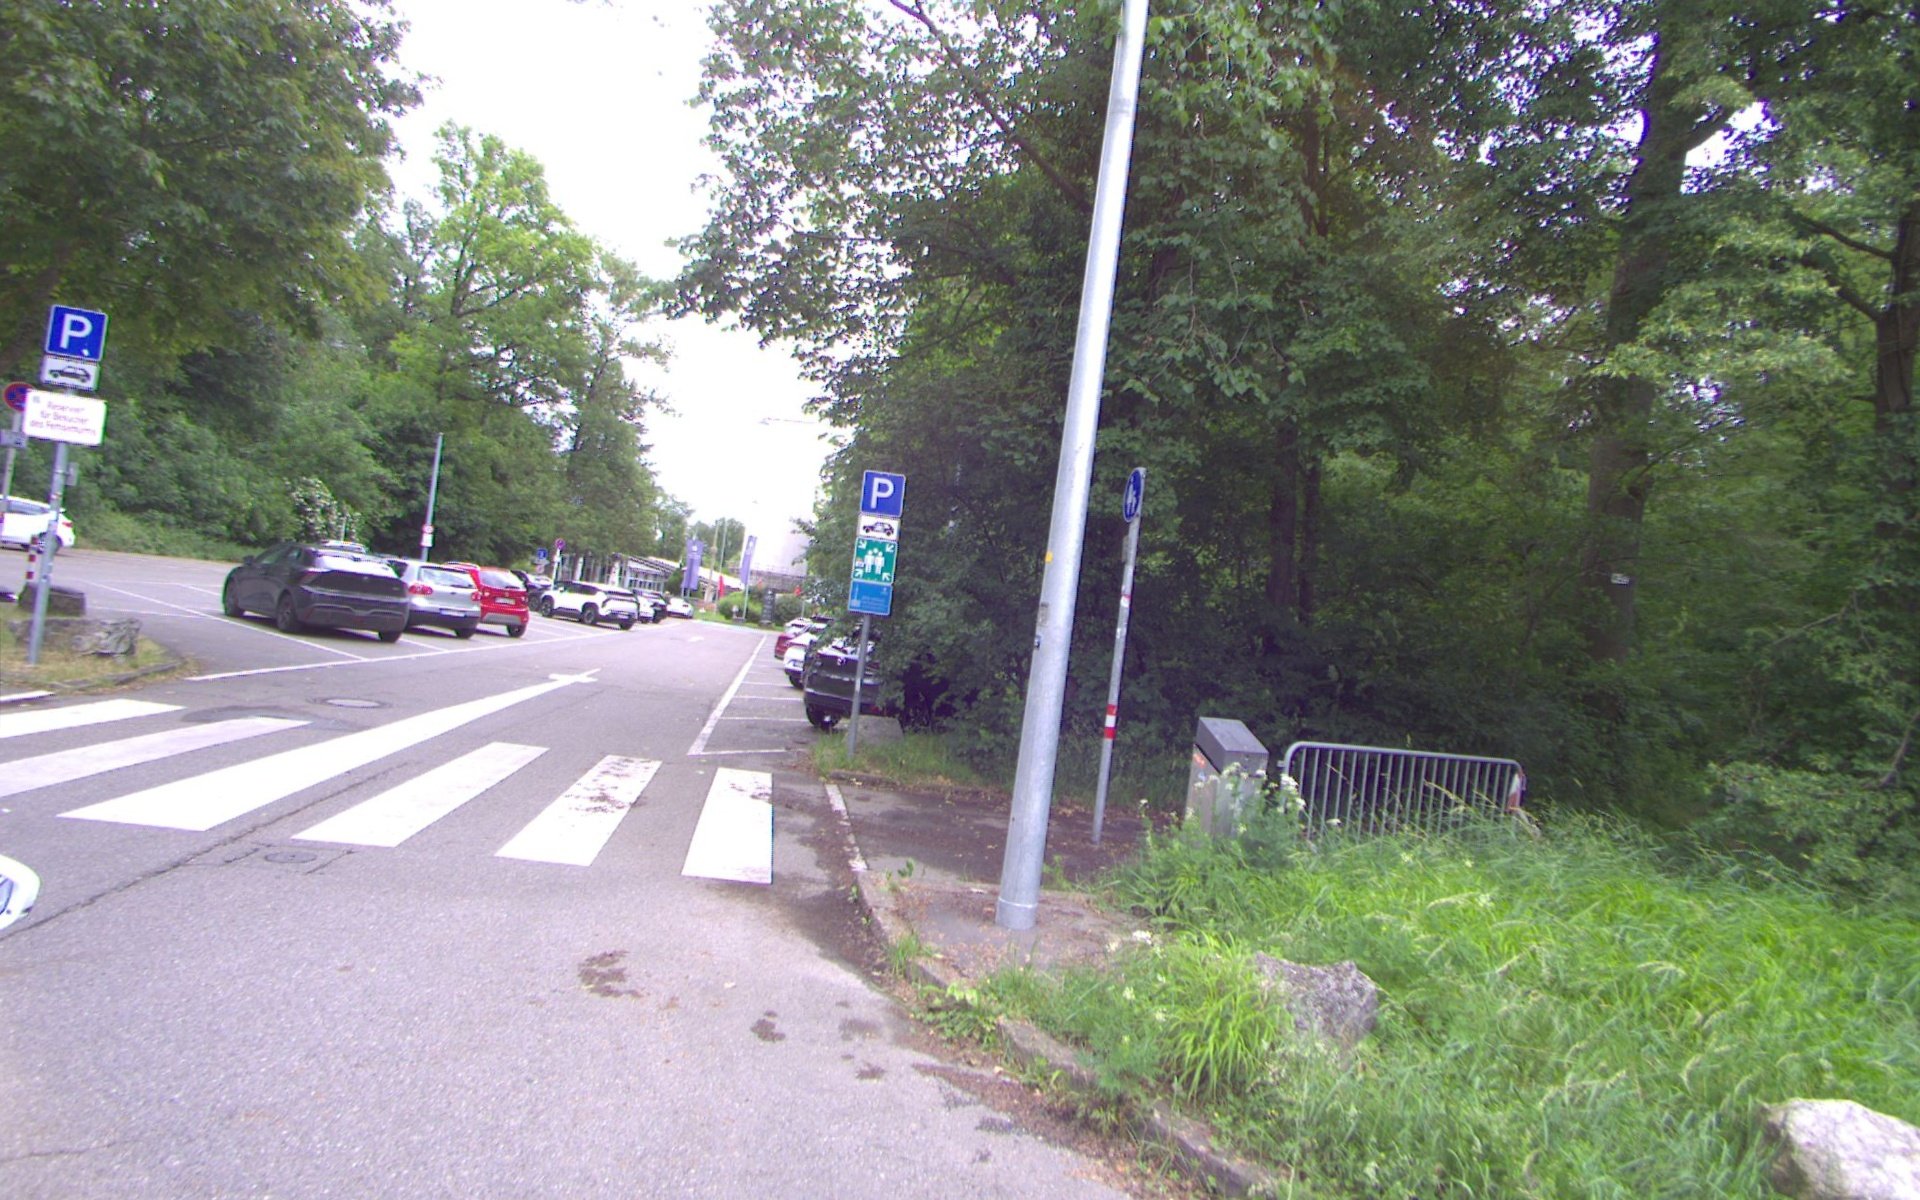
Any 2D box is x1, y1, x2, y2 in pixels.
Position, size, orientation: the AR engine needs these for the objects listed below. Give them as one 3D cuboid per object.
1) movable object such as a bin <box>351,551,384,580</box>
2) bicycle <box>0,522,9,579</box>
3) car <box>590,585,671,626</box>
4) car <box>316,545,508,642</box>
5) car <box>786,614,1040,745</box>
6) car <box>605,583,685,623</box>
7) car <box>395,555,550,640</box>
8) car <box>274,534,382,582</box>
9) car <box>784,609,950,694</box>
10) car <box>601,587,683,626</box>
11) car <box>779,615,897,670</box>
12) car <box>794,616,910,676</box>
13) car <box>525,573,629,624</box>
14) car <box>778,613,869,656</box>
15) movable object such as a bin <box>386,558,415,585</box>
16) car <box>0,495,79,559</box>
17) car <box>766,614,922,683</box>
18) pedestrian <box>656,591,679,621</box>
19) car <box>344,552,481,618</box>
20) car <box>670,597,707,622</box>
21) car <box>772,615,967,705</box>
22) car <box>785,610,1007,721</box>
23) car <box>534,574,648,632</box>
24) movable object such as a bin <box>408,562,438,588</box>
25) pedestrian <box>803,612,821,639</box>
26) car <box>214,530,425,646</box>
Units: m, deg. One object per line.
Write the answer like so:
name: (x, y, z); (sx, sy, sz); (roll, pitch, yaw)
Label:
movable object such as a bin: (-33.386, -1.924, 56.693); (1.107, 1.442, 1.130); (8, -1, -6)
bicycle: (-13.111, -0.572, 12.548); (1.758, 1.124, 0.482); (8, -1, -7)
car: (-16.272, 0.282, 49.662); (3.786, 1.460, 1.769); (7, -2, 36)
car: (-11.869, -0.153, 21.751); (3.935, 1.500, 1.874); (7, -2, 33)
car: (-0.555, 1.244, 14.861); (1.673, 1.509, 3.786); (7, -3, 34)
car: (-17.690, 0.155, 56.477); (4.318, 1.627, 1.826); (7, -2, 34)
car: (-12.117, -0.076, 24.964); (3.595, 1.603, 1.684); (7, -2, 33)
car: (-31.703, -2.072, 50.519); (1.851, 1.704, 4.062); (7, -3, 37)
car: (-2.322, 1.374, 26.079); (1.815, 1.636, 4.108); (7, -3, 38)
car: (-16.714, 0.341, 52.827); (4.210, 1.460, 1.757); (7, -2, 34)
car: (-4.383, 1.565, 36.570); (1.777, 1.474, 4.178); (7, -2, 36)
car: (-3.530, 1.563, 33.419); (1.709, 1.522, 3.573); (7, -2, 37)
car: (-16.243, -0.051, 42.669); (3.931, 1.572, 1.872); (7, -2, 29)
car: (-6.384, 1.644, 47.381); (1.809, 1.484, 3.986); (7, -2, 40)
movable object such as a bin: (-32.080, -1.617, 57.641); (1.119, 1.330, 1.172); (9, -2, -39)
car: (-27.482, -2.246, 28.055); (1.841, 1.527, 3.991); (7, -2, 36)
car: (-3.289, 1.447, 29.263); (1.900, 1.429, 4.283); (7, -3, 40)
pedestrian: (-18.426, 0.401, 63.322); (0.753, 1.745, 0.894); (7, -1, 37)
car: (-17.184, -0.486, 31.524); (4.246, 1.458, 1.867); (7, -2, 33)
car: (-18.708, 0.673, 69.443); (1.867, 1.444, 3.996); (8, -2, -8)
car: (-1.902, 1.369, 22.254); (1.842, 1.454, 4.108); (7, -3, 38)
car: (-1.073, 1.305, 19.073); (1.926, 1.597, 4.197); (7, -3, 33)
car: (-14.087, 0.092, 38.347); (4.122, 1.615, 1.843); (7, -2, 33)
movable object such as a bin: (-31.152, -1.463, 58.369); (1.164, 1.322, 1.299); (9, -2, -39)
pedestrian: (-10.374, 1.821, 70.541); (0.750, 1.745, 0.897); (8, -1, 20)
car: (-11.510, -0.247, 17.992); (4.039, 1.540, 1.826); (6, -3, 38)
